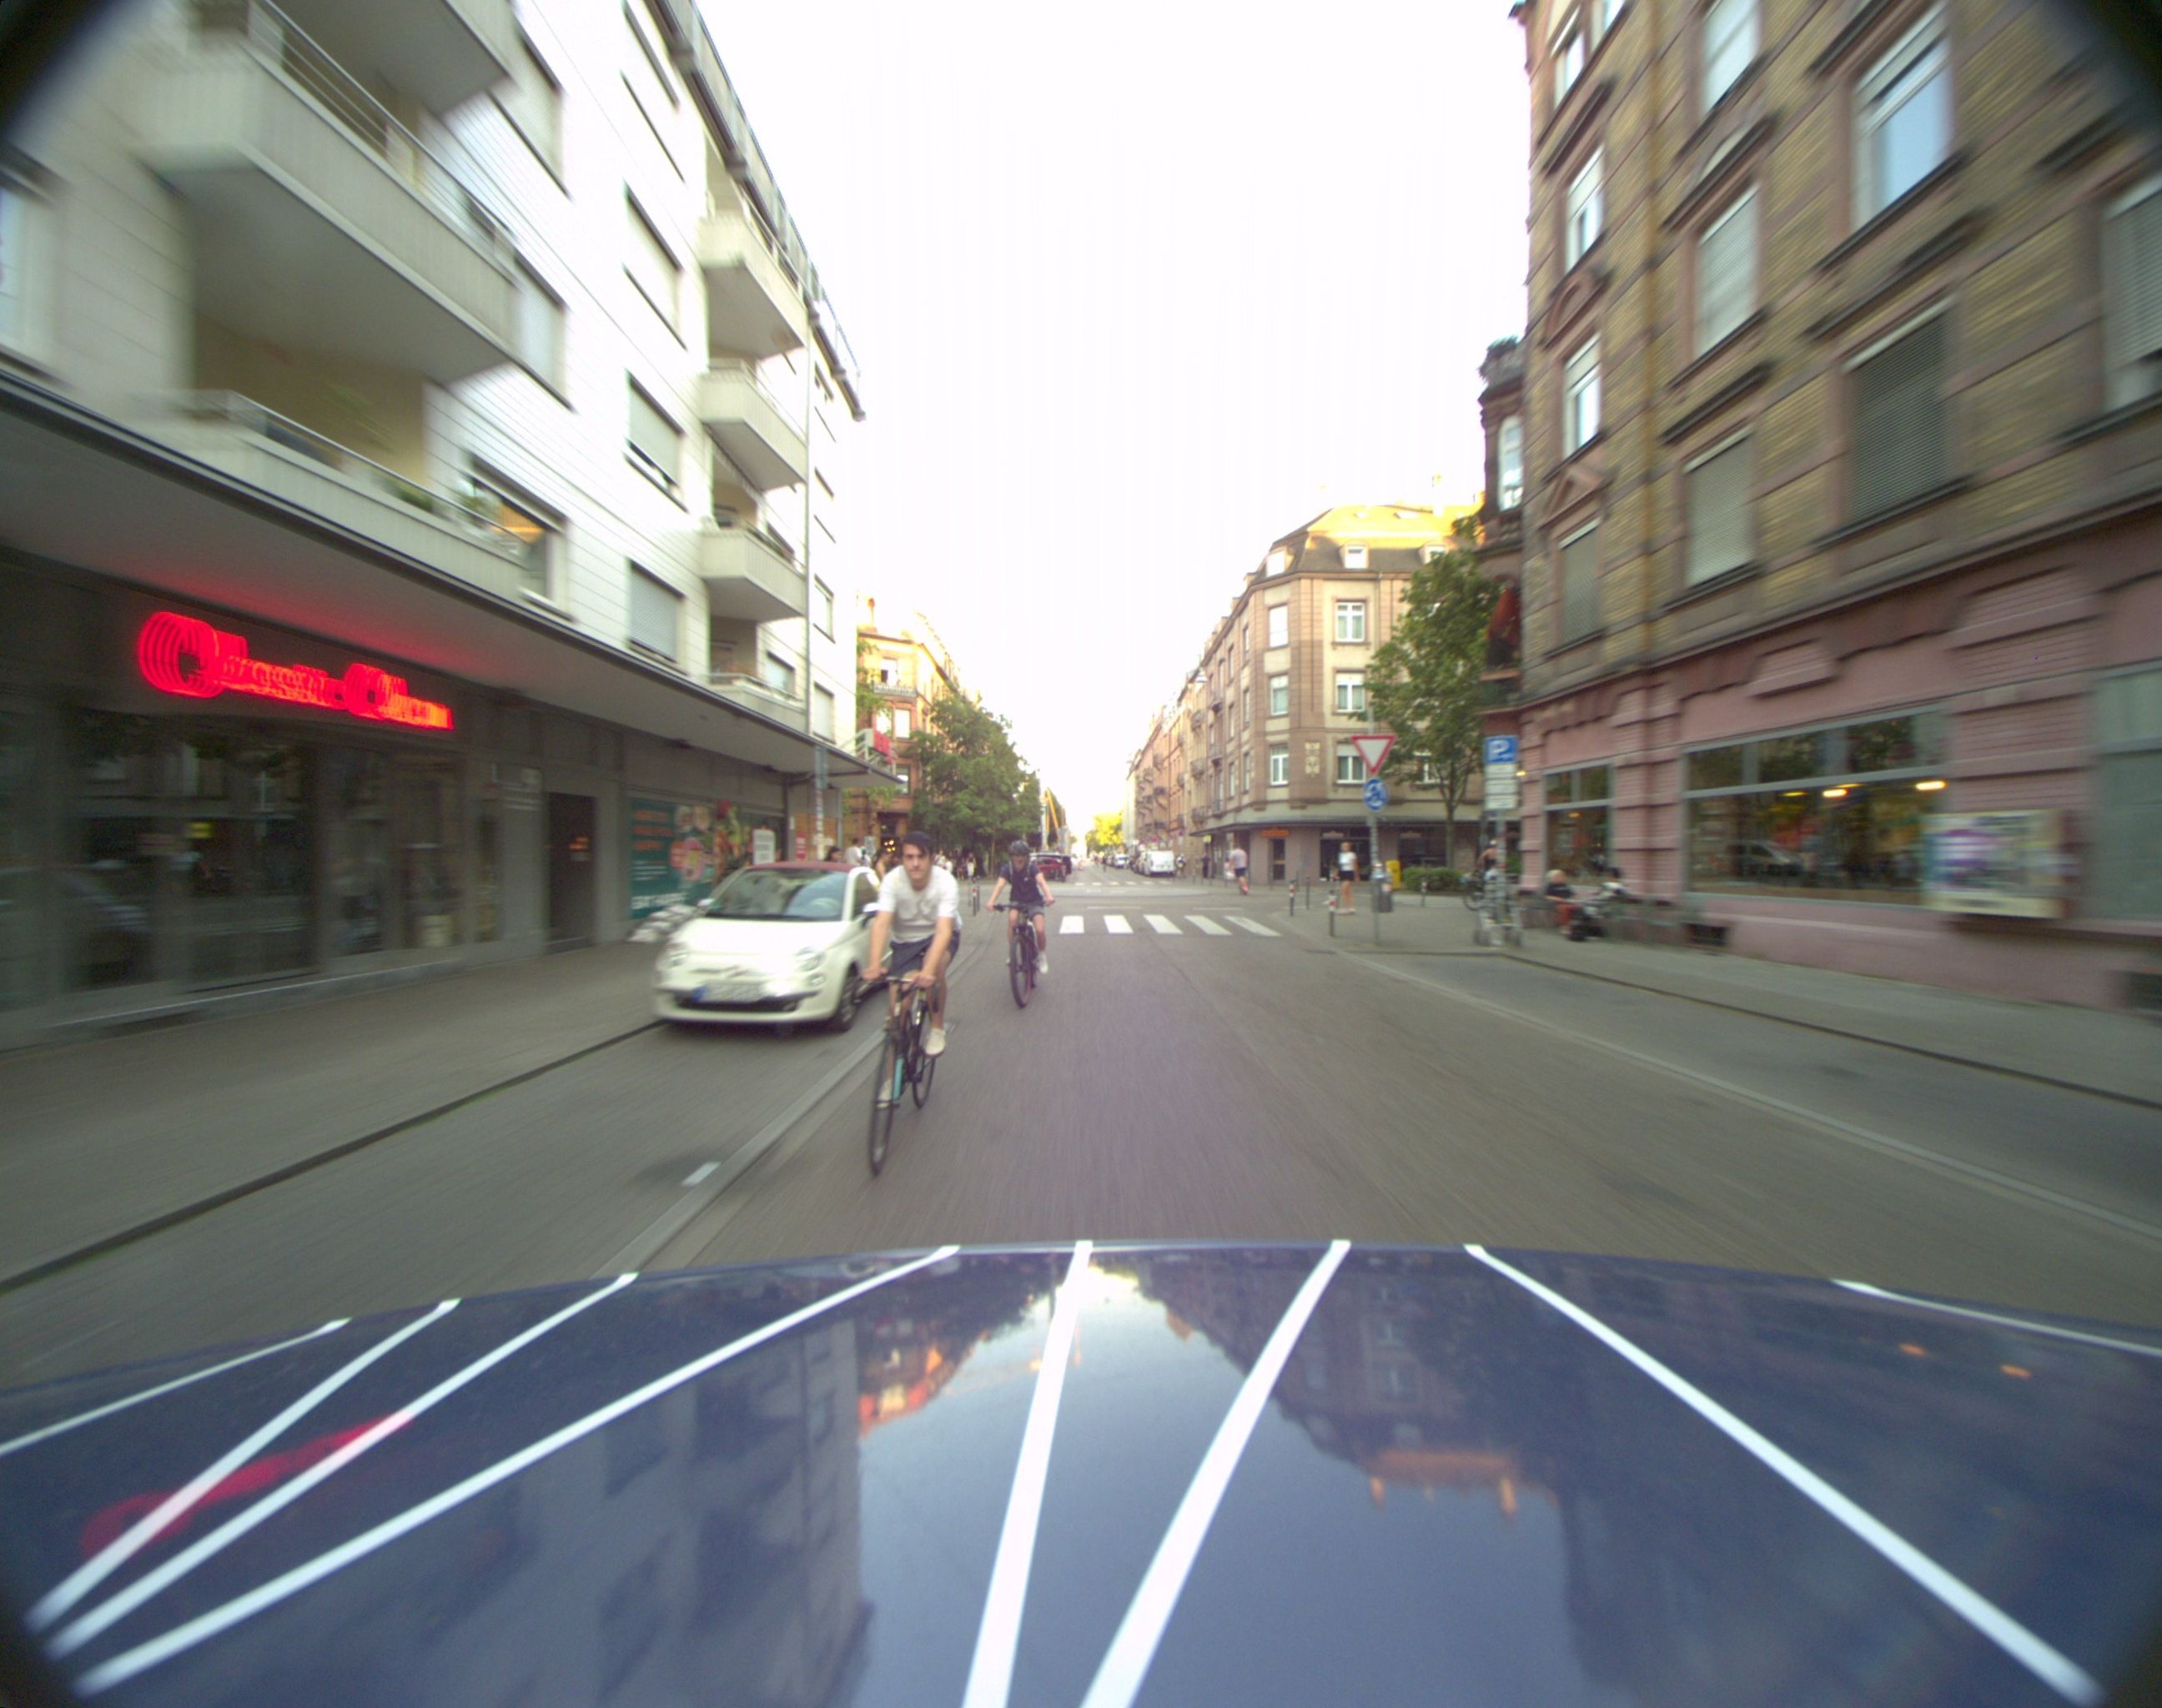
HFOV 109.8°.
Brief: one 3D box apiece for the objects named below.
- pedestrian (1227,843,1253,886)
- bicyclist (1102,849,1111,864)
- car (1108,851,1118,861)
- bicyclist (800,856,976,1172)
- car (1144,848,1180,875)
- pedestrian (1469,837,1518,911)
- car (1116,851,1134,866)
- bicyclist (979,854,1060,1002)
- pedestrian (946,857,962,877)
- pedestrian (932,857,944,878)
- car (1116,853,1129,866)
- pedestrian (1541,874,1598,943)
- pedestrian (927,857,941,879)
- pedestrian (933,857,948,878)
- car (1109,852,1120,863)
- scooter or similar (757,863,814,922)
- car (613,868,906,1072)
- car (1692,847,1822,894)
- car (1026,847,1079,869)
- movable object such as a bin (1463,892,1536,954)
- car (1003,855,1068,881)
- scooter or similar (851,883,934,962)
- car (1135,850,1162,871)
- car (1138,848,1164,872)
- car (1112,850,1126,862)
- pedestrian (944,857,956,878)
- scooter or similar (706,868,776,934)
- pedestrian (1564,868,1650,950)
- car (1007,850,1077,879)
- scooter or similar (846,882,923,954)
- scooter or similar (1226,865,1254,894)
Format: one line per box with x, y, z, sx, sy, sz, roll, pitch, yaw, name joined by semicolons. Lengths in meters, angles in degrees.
6.139;0.404;29.370;0.809;1.650;0.672;1;0;-3;pedestrian
2.853;0.256;85.098;0.754;1.630;1.200;0;0;-6;bicyclist
5.872;0.344;139.487;1.908;1.729;3.850;-1;1;3;car
-0.992;0.775;4.127;0.650;1.500;0.953;-1;2;2;bicyclist
6.209;0.560;58.767;2.141;1.947;4.768;-1;0;-1;car
10.484;0.507;19.306;1.024;1.844;0.723;0;-2;-40;pedestrian
5.742;0.553;99.147;2.141;1.811;4.540;-1;0;0;car
-0.666;0.790;8.508;0.794;1.562;0.826;-1;0;1;bicyclist
-7.965;0.807;47.644;0.639;1.265;0.676;1;2;39;pedestrian
-8.770;0.825;46.594;0.675;1.265;0.639;-1;2;-15;pedestrian
6.031;0.794;109.684;1.840;1.633;3.925;-1;1;3;car
8.594;0.946;13.403;0.504;1.137;0.791;-1;2;1;pedestrian
-8.899;0.829;45.969;0.676;1.265;0.639;-2;2;-28;pedestrian
-8.779;0.815;47.437;0.673;1.265;0.641;0;2;26;pedestrian
5.843;0.590;133.935;1.868;1.729;3.800;-1;1;3;car
-6.617;0.827;17.073;0.479;1.211;1.624;1;1;7;scooter or similar
-2.913;0.946;7.676;1.597;1.492;3.422;2;0;-2;car
29.035;0.660;32.819;1.999;1.828;3.999;1;1;0;car
-3.015;0.381;80.886;5.153;2.182;2.333;-1;2;-25;car
6.798;1.107;12.371;0.763;0.910;0.729;-1;2;-3;movable object such as a bin
-3.125;0.926;52.238;4.006;1.658;1.823;-2;2;-31;car
-2.957;1.055;11.999;0.535;1.164;1.166;0;-2;39;scooter or similar
6.249;0.577;70.868;2.141;1.811;4.540;-1;0;1;car
5.924;0.477;64.724;1.879;1.892;4.326;-1;0;1;car
5.942;0.265;118.530;1.998;1.729;4.000;-1;1;3;car
-7.957;0.831;46.288;0.641;1.265;0.674;-1;2;-15;pedestrian
-6.541;0.881;14.656;0.536;1.196;1.166;0;0;26;scooter or similar
8.605;0.872;12.460;0.650;1.247;0.907;-3;0;-15;pedestrian
-3.120;0.821;60.612;5.153;2.085;2.112;-1;2;-25;car
-3.283;1.060;12.763;1.163;1.164;0.537;1;-1;-7;scooter or similar
6.137;0.972;29.405;0.809;1.097;1.172;1;0;-3;scooter or similar
